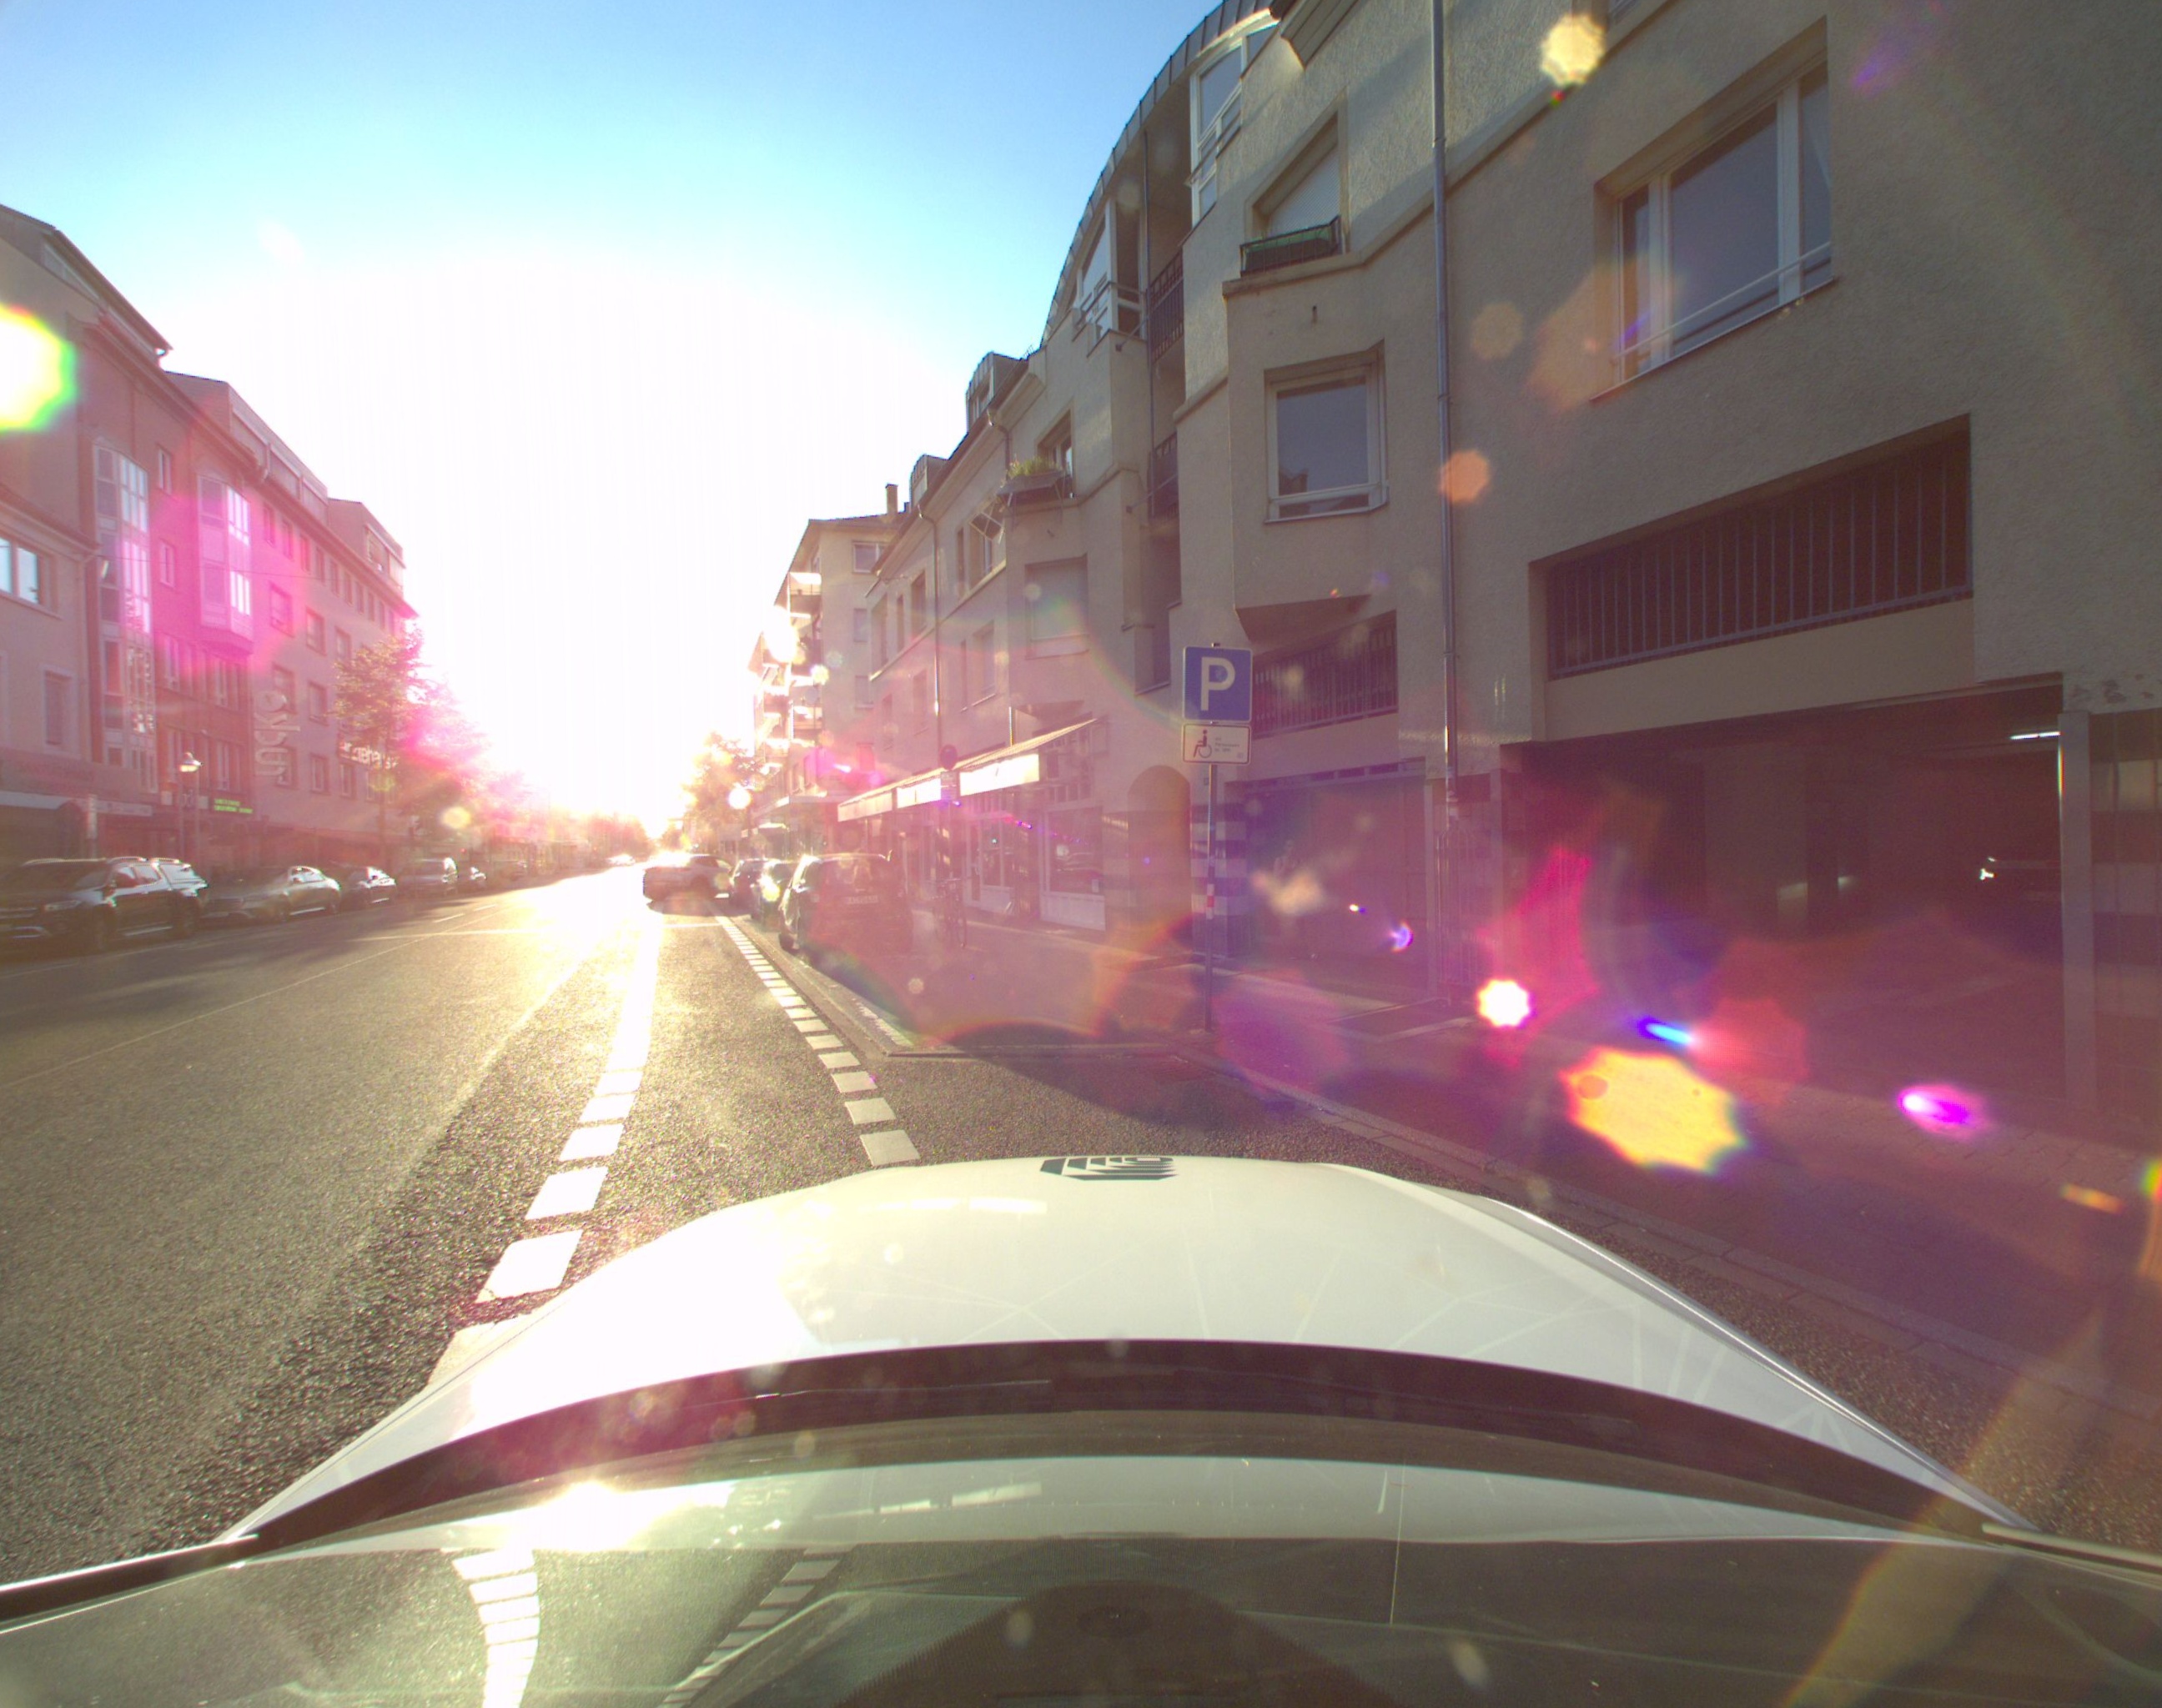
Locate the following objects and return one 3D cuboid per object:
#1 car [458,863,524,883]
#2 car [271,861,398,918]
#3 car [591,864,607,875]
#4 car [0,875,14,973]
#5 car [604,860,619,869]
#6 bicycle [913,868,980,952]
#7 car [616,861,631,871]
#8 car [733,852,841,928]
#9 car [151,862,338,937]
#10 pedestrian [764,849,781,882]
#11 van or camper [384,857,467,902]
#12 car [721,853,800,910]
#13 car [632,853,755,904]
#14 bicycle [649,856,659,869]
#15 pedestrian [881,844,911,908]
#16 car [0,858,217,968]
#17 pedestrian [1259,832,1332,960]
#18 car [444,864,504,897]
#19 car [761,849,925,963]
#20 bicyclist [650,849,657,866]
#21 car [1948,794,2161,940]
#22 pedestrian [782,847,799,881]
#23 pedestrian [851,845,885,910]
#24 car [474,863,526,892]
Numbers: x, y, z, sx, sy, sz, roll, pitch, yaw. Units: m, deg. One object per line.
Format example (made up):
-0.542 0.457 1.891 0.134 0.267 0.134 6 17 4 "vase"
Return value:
-44.088 1.399 60.886 3.636 1.412 1.634 0 0 -1 "car"
-24.771 1.106 27.229 2.005 1.655 4.439 -2 1 -28 "car"
-73.102 2.388 123.577 1.698 1.502 3.755 -2 1 -26 "car"
-16.392 1.130 10.329 1.695 1.488 4.371 -5 2 -28 "car"
-76.474 1.700 132.702 1.698 1.502 3.755 -2 1 -26 "car"
-2.216 0.859 13.204 0.561 1.206 1.961 -1 1 -25 "bicycle"
-70.338 1.823 125.185 1.698 1.502 3.755 -2 1 -26 "car"
-7.043 0.760 19.312 1.800 1.580 3.751 -2 1 -29 "car"
-22.077 1.105 21.780 2.004 1.655 4.588 -3 1 -26 "car"
-17.173 0.643 45.334 0.722 1.791 0.661 -2 1 -27 "pedestrian"
-28.691 1.060 35.802 1.797 1.773 4.519 -2 1 -26 "van or camper"
-10.035 0.788 25.357 1.800 1.580 3.751 -2 1 -29 "car"
-13.794 0.825 29.312 1.862 1.697 4.332 0 0 9 "car"
-40.543 0.775 77.307 0.666 1.243 2.113 0 0 -24 "bicycle"
-5.059 0.596 22.266 0.562 1.700 0.824 -2 0 -28 "pedestrian"
-19.365 1.018 15.780 2.006 1.777 5.269 -3 1 -29 "car"
2.719 0.522 10.368 0.773 1.572 0.534 -1 0 0 "pedestrian"
-30.632 1.307 41.184 1.698 1.502 3.755 -2 1 -26 "car"
-4.133 0.740 13.708 1.800 1.580 3.930 -2 1 -29 "car"
-40.615 0.362 77.372 0.549 1.580 0.796 -2 0 -24 "bicyclist"
13.364 0.059 10.212 4.250 1.573 1.807 -3 0 -19 "car"
-15.703 0.550 44.006 0.722 1.791 0.661 -2 1 -27 "pedestrian"
-5.790 0.619 22.104 0.634 1.700 1.031 -2 1 -28 "pedestrian"
-32.528 1.285 45.694 1.698 1.502 3.755 -2 1 -26 "car"
